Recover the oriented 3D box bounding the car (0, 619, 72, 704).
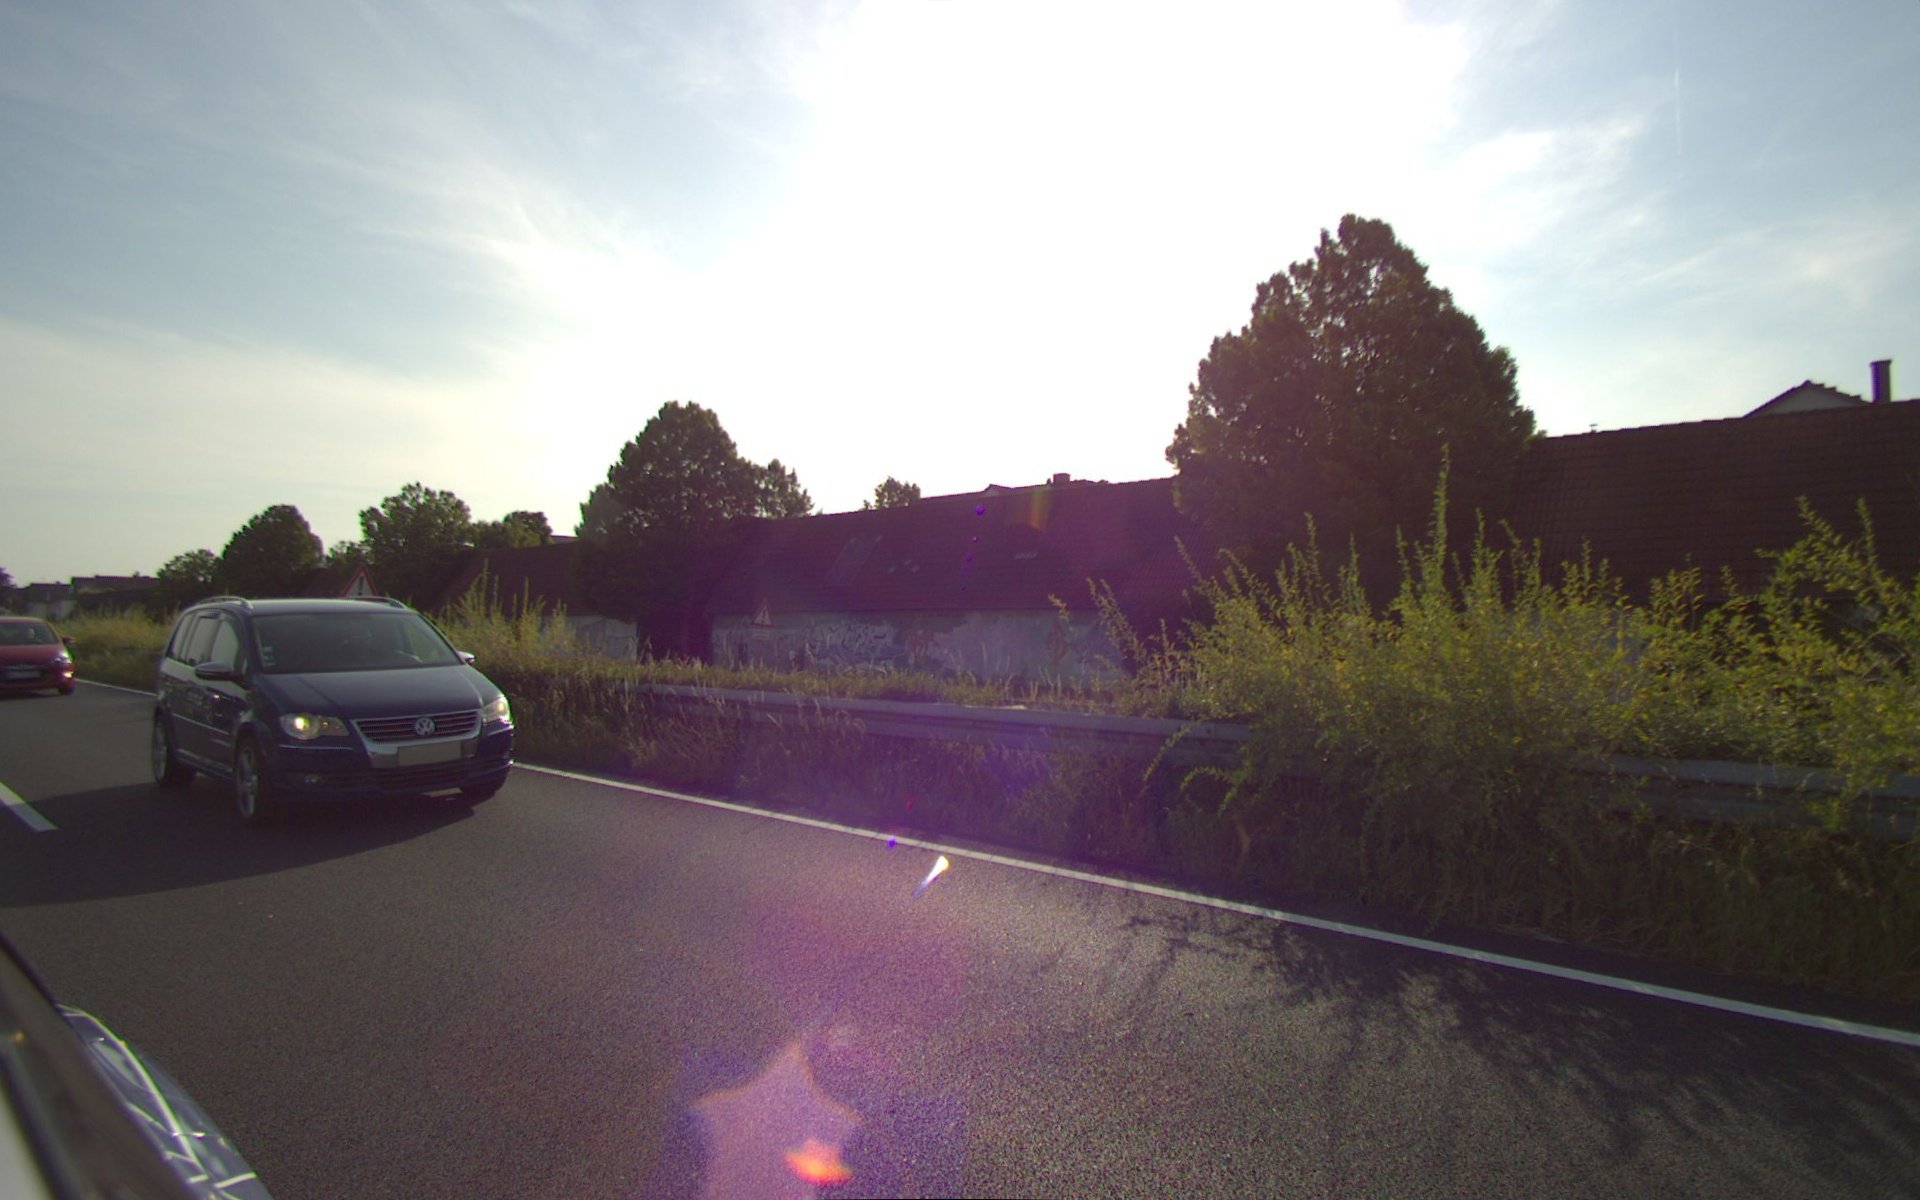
[{"bbox_3d":[-19.724,1.209,20.800,3.998,1.557,1.726,0,0,41],"label":"car"}]

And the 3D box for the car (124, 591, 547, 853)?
[{"bbox_3d":[-5.444,0.779,8.528,4.680,1.633,1.754,0,-1,41],"label":"car"}]
